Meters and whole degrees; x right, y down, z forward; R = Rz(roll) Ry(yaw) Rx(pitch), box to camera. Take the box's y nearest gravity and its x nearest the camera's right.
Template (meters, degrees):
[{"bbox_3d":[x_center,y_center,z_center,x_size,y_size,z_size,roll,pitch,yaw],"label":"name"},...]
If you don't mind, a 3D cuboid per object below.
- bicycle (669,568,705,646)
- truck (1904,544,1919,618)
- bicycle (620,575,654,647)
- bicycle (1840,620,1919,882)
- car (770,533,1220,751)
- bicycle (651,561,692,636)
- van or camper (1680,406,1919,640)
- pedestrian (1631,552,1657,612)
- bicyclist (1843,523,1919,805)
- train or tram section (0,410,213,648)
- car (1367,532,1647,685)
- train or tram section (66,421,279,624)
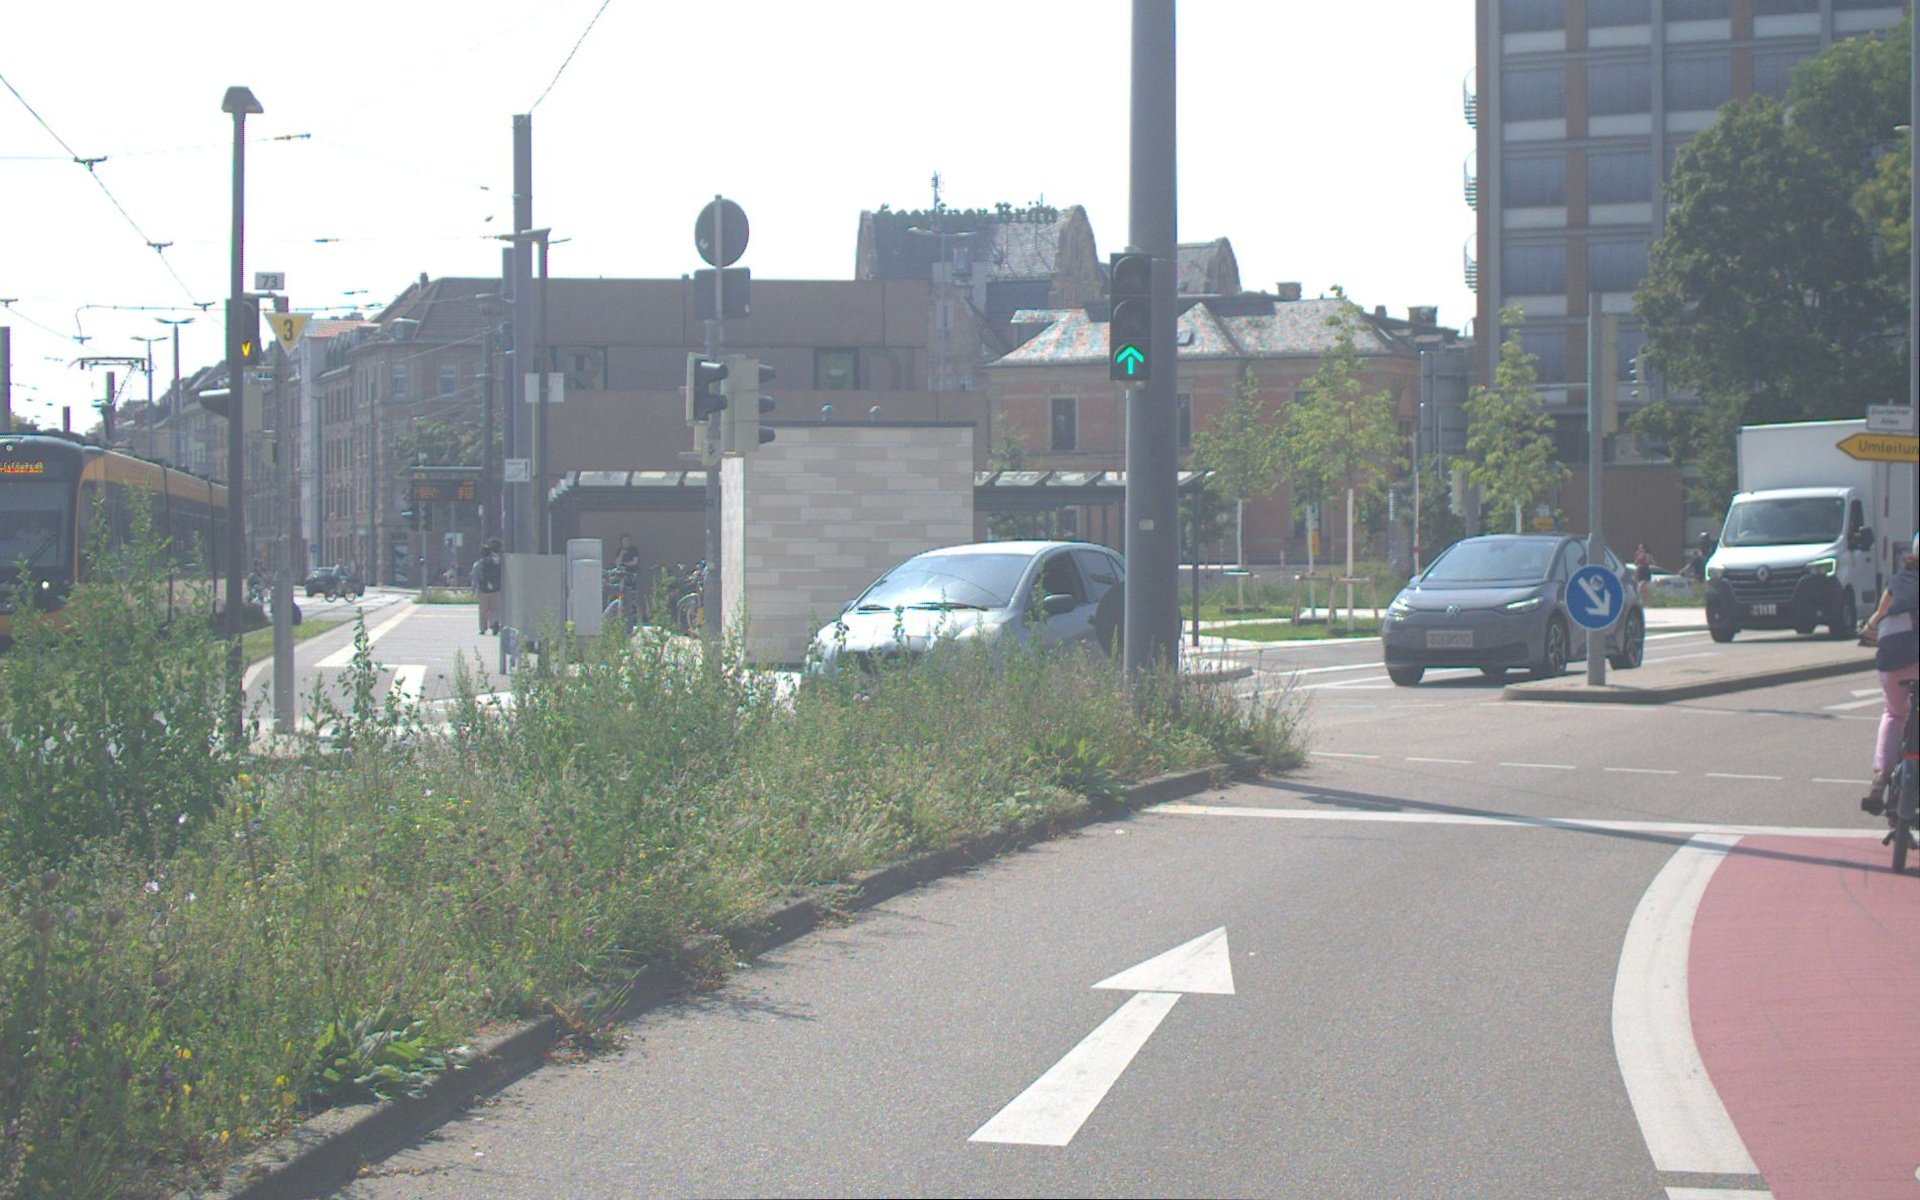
[{"bbox_3d":[-3.907,0.086,49.161,0.464,1.097,1.423,1,0,-6],"label":"bicycle"},{"bbox_3d":[20.701,-0.416,71.240,1.557,1.499,3.615,0,1,26],"label":"truck"},{"bbox_3d":[-4.673,0.152,49.749,0.464,1.029,1.548,1,0,-6],"label":"bicycle"},{"bbox_3d":[4.570,0.695,16.574,0.604,1.159,1.809,0,1,15],"label":"bicycle"},{"bbox_3d":[0.367,0.265,26.392,1.653,1.525,4.319,0,1,28],"label":"car"},{"bbox_3d":[-4.926,-0.036,58.574,0.605,1.249,2.623,0,1,-7],"label":"bicycle"},{"bbox_3d":[13.085,-1.134,52.082,2.403,3.295,7.179,0,1,27],"label":"van or camper"},{"bbox_3d":[17.742,-0.470,89.172,0.529,1.547,0.417,-1,1,-18],"label":"pedestrian"},{"bbox_3d":[4.563,0.297,16.518,0.603,1.331,0.659,0,1,14],"label":"bicyclist"},{"bbox_3d":[-15.177,-1.142,60.096,2.855,3.536,17.747,1,0,-8],"label":"train or tram section"},{"bbox_3d":[5.851,0.055,36.408,1.699,1.525,4.177,0,1,27],"label":"car"},{"bbox_3d":[-17.671,-1.641,78.452,2.885,4.054,19.145,1,0,-7],"label":"train or tram section"}]
